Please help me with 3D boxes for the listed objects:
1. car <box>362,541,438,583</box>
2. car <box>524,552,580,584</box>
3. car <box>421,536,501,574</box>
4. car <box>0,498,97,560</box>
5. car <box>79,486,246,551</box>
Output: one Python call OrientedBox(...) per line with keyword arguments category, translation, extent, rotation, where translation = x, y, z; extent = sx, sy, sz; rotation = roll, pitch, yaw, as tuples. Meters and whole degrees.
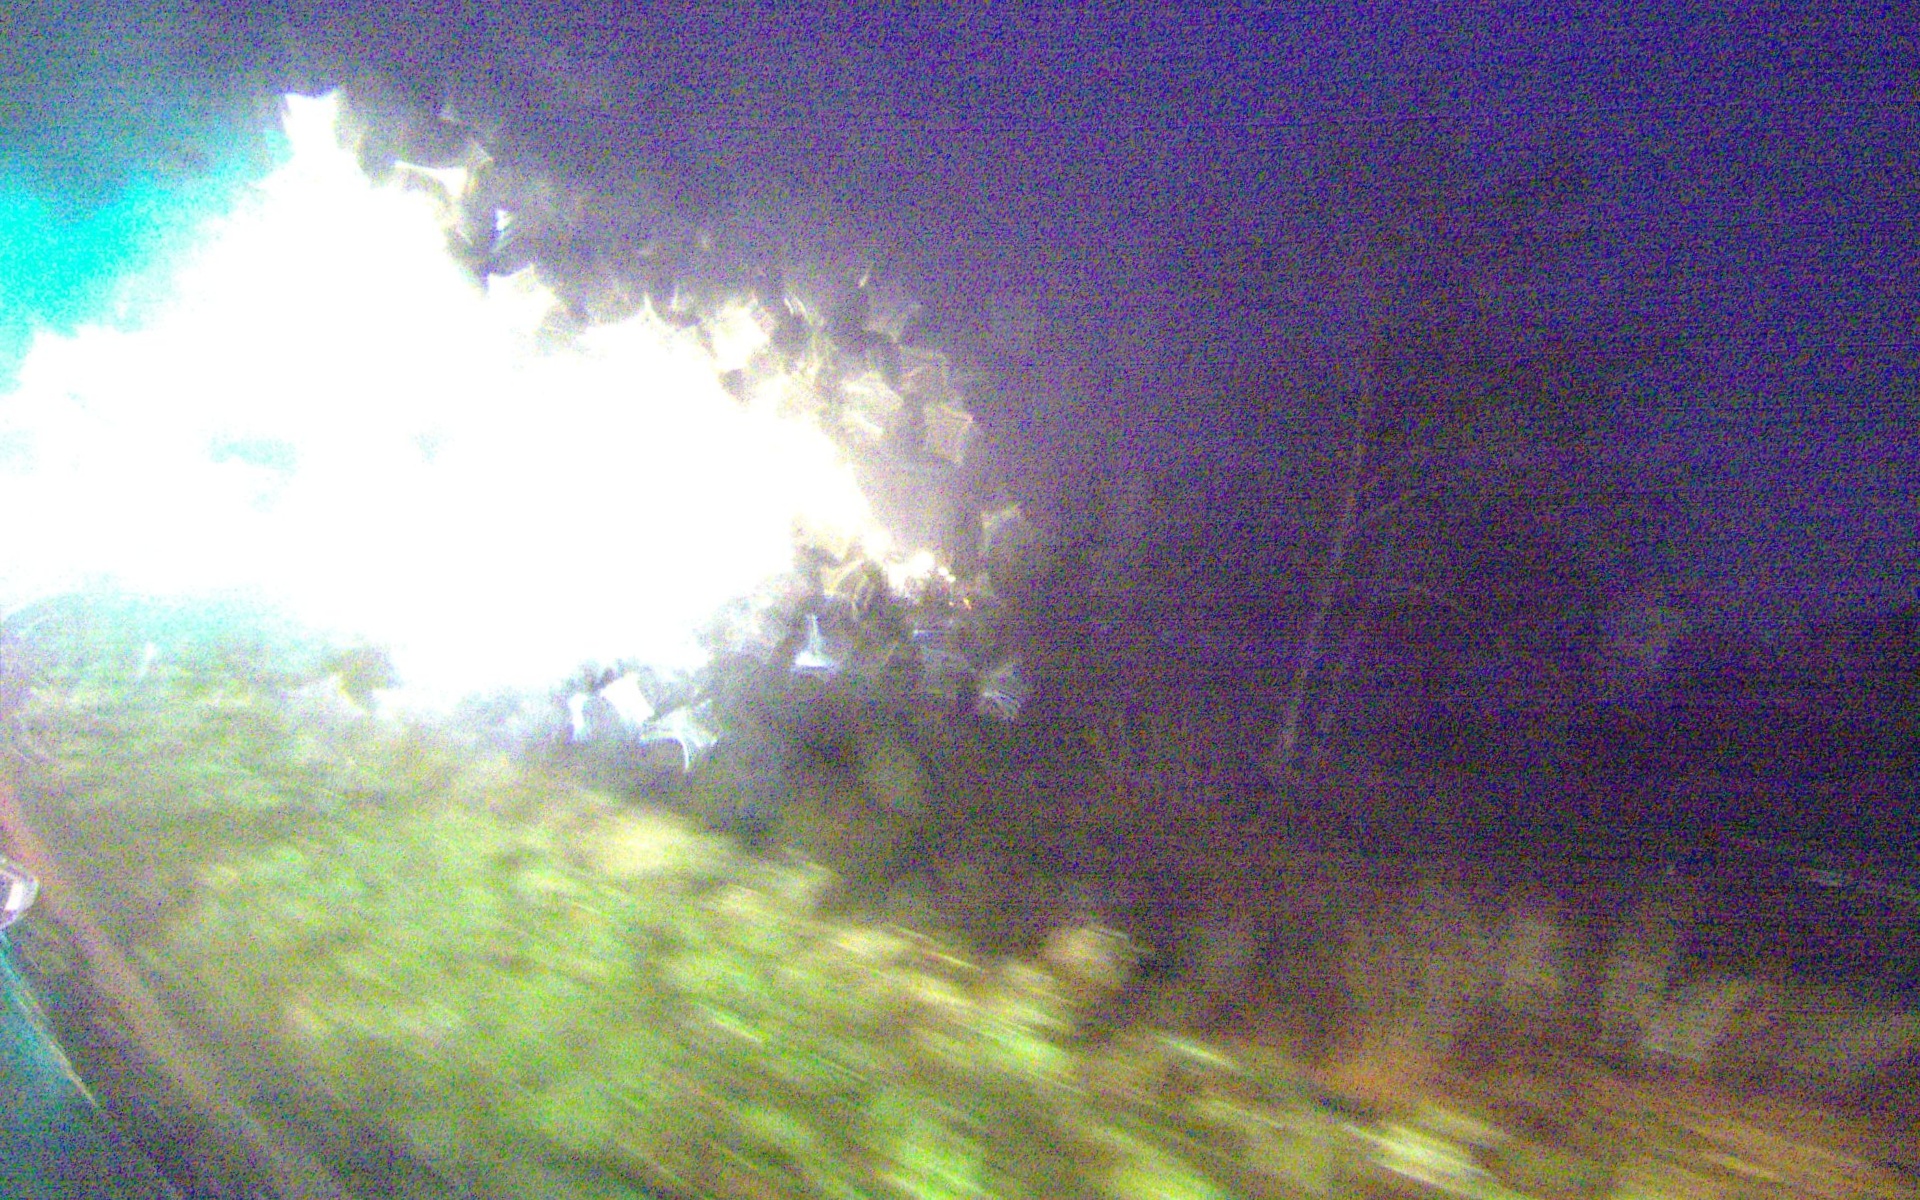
OrientedBox(category="car", translation=(-32.545, -2.184, 58.552), extent=(1.794, 1.870, 4.005), rotation=(7, -2, 4))
OrientedBox(category="car", translation=(-28.496, -2.200, 70.462), extent=(1.770, 1.685, 4.492), rotation=(7, -2, 2))
OrientedBox(category="car", translation=(-26.343, -2.348, 53.266), extent=(1.784, 1.597, 4.307), rotation=(5, 0, 3))
OrientedBox(category="car", translation=(-30.731, -2.379, 32.621), extent=(1.770, 1.685, 3.980), rotation=(6, -2, 4))
OrientedBox(category="car", translation=(-26.881, -2.694, 34.126), extent=(1.749, 1.502, 4.413), rotation=(9, 0, 5))
